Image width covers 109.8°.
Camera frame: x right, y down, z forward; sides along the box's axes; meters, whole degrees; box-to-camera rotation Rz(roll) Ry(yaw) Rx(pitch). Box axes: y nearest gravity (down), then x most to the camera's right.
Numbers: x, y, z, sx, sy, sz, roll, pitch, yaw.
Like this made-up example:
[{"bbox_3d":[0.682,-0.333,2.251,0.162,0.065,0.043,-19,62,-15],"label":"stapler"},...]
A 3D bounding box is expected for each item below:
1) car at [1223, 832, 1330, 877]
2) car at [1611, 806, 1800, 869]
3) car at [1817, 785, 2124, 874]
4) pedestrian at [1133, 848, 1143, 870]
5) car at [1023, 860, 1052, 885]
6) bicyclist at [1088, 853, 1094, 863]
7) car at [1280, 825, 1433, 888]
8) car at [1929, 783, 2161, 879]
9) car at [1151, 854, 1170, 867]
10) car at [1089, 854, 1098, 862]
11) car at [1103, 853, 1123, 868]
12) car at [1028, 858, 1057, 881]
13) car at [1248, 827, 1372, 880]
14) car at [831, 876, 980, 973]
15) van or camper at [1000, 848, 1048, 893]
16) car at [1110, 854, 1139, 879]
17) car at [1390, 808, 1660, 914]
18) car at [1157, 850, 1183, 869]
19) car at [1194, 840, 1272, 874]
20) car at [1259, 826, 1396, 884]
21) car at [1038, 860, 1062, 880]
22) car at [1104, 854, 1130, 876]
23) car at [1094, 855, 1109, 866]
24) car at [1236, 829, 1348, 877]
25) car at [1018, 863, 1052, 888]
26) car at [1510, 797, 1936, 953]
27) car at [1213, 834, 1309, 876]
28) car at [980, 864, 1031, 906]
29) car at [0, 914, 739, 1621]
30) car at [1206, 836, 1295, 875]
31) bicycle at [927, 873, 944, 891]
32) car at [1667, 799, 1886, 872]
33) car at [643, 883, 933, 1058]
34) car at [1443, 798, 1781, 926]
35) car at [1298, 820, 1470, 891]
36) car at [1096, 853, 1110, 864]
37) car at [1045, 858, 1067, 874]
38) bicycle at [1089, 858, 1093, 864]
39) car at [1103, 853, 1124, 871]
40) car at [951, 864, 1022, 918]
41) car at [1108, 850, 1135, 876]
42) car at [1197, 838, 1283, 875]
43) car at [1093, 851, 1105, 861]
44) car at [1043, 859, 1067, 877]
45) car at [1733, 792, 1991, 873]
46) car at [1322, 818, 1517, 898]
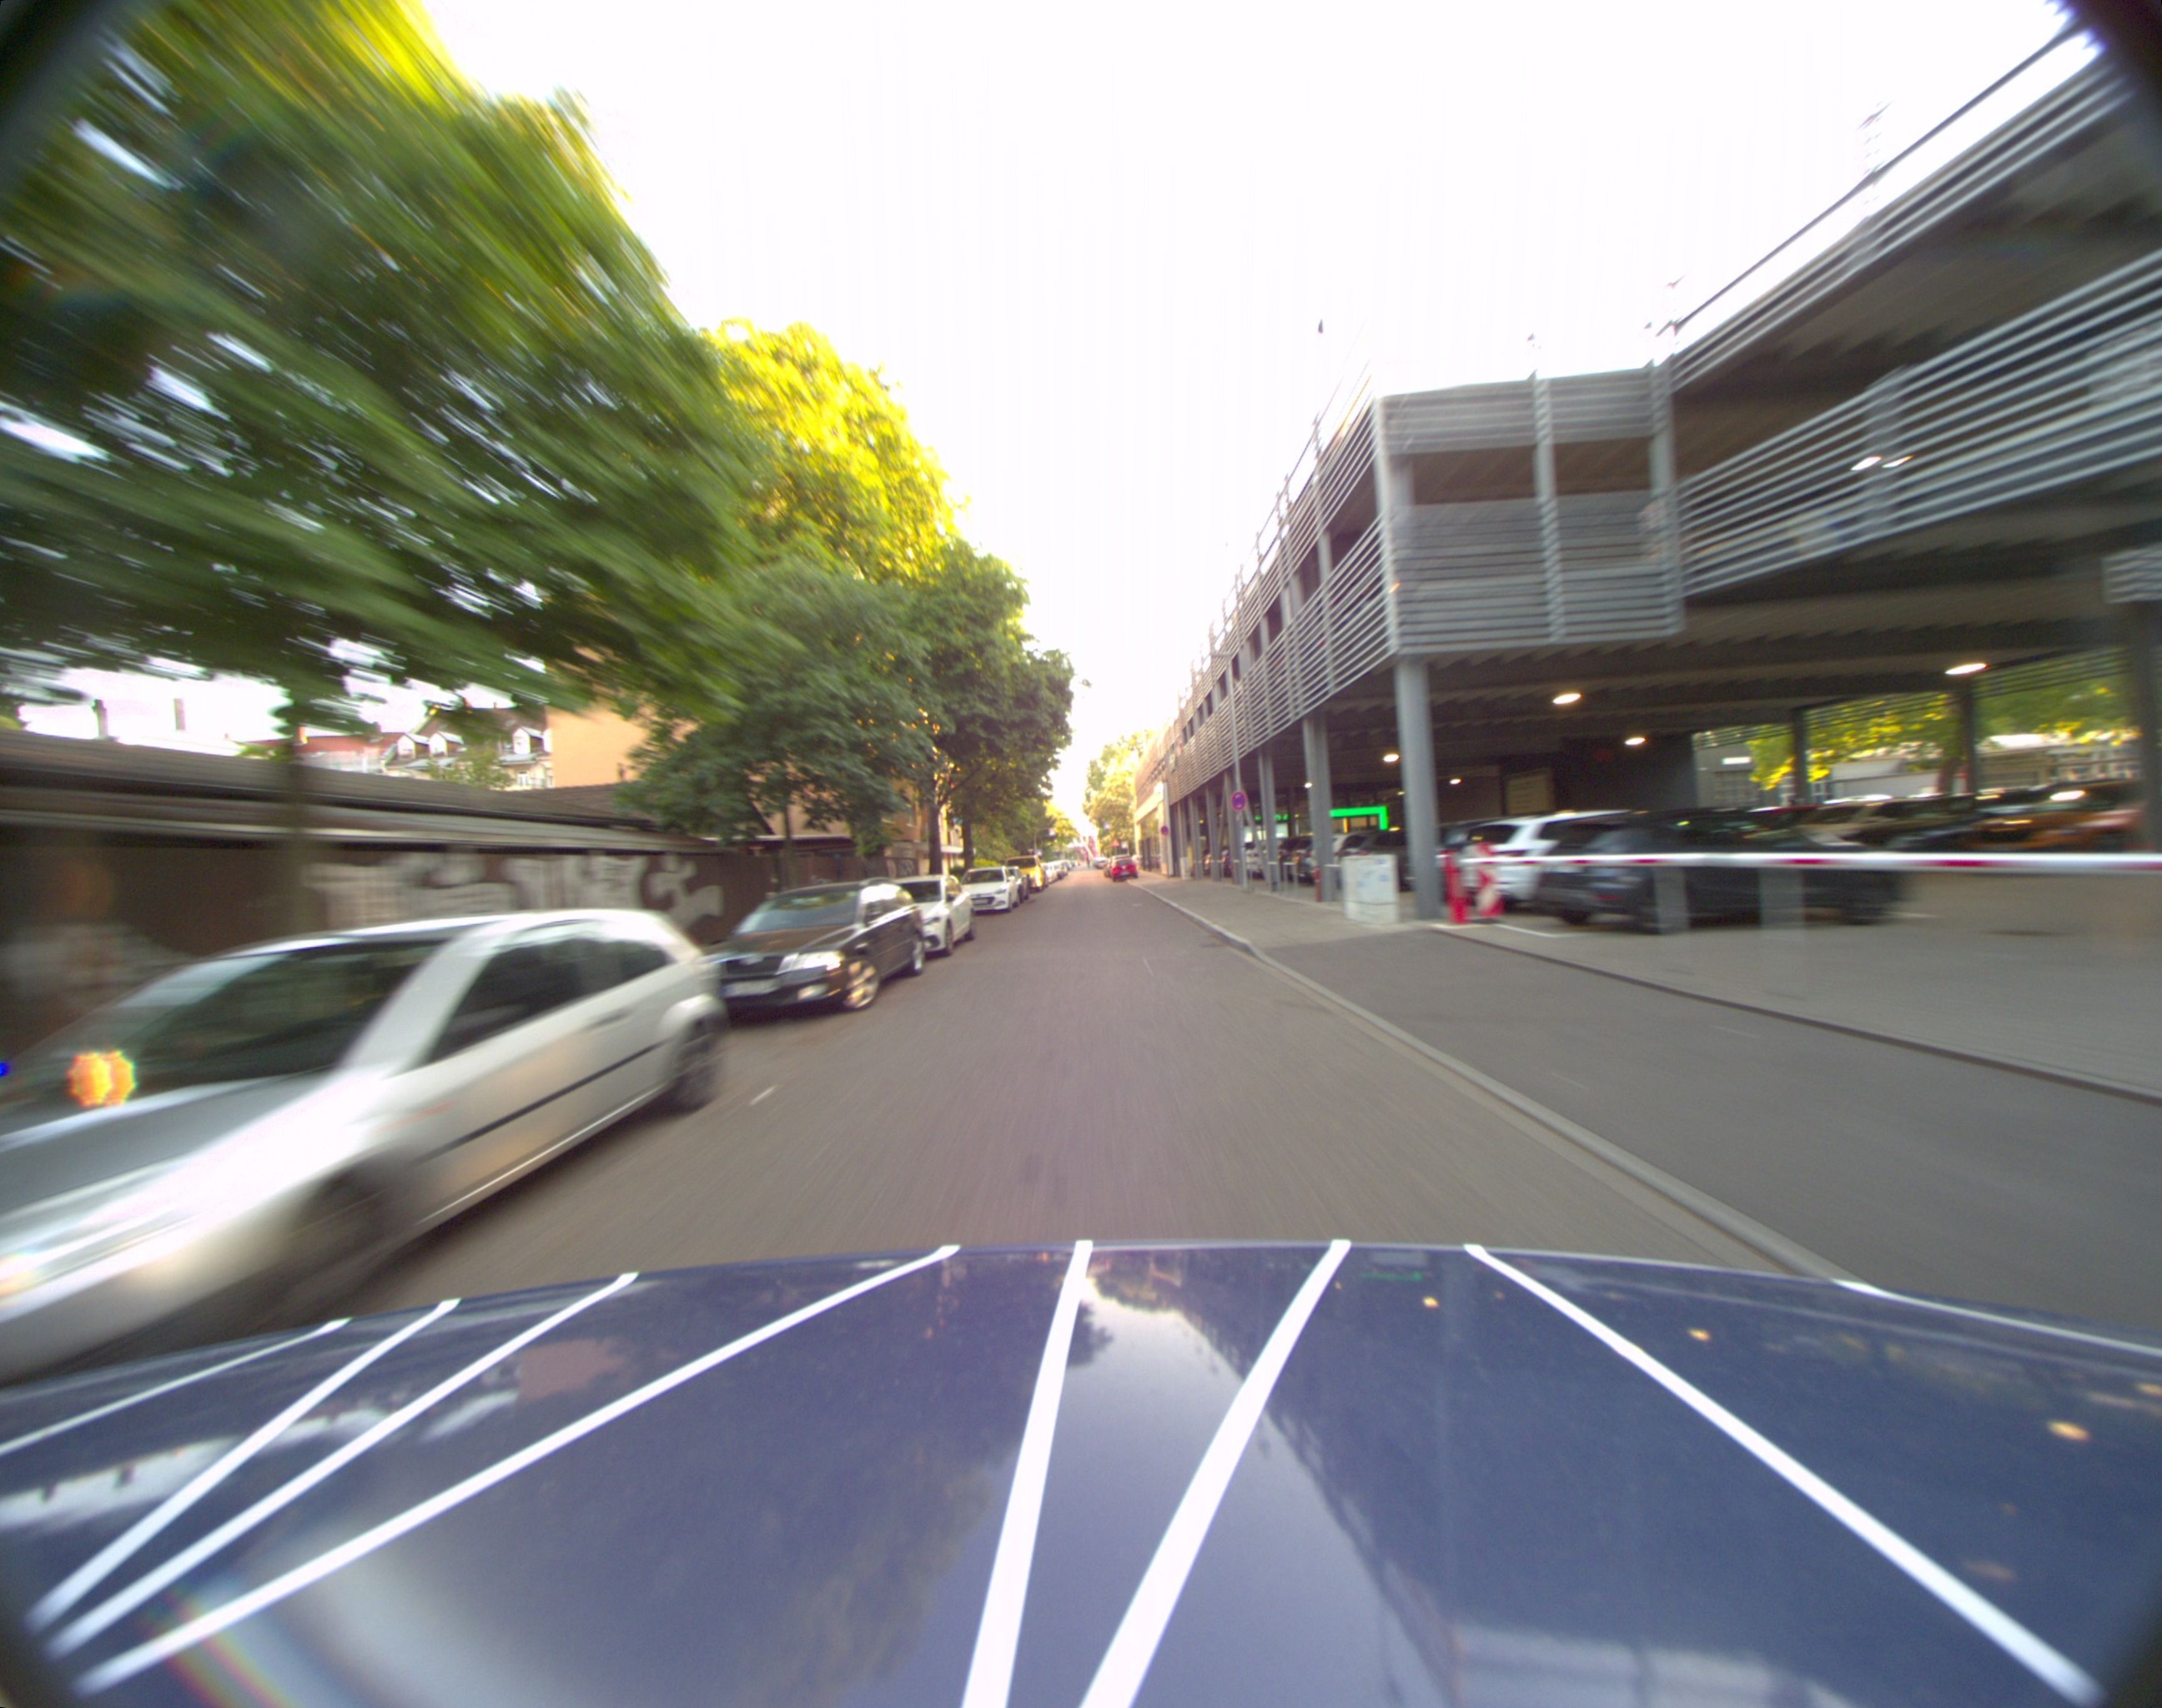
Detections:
[{"bbox_3d":[8.582,0.051,33.642,4.159,1.674,1.860,-4,-1,2],"label":"car"},{"bbox_3d":[18.573,-0.461,22.735,3.996,1.549,1.860,-4,-1,2],"label":"car"},{"bbox_3d":[18.389,-0.462,15.873,4.061,1.486,1.860,-4,-1,2],"label":"car"},{"bbox_3d":[4.878,0.431,64.692,0.722,1.867,0.620,-4,0,2],"label":"pedestrian"},{"bbox_3d":[-2.885,1.223,51.082,1.614,1.501,3.478,-4,0,0],"label":"car"},{"bbox_3d":[1.831,0.752,141.199,0.861,1.797,1.016,-4,0,-1],"label":"bicyclist"},{"bbox_3d":[8.678,0.088,24.185,4.113,1.674,1.860,-4,-1,2],"label":"car"},{"bbox_3d":[18.417,-0.457,13.606,4.240,1.486,1.831,-4,-1,2],"label":"car"},{"bbox_3d":[8.786,0.703,84.022,1.597,1.285,3.451,-4,0,0],"label":"car"},{"bbox_3d":[3.252,0.957,199.851,1.786,1.772,4.012,-9,0,-2],"label":"car"},{"bbox_3d":[3.679,0.726,89.001,1.666,1.505,3.883,-7,-1,-5],"label":"car"},{"bbox_3d":[-2.786,1.124,55.779,1.796,1.553,4.194,-4,0,0],"label":"car"},{"bbox_3d":[8.627,-0.017,28.911,4.093,1.674,1.860,-4,-1,2],"label":"car"},{"bbox_3d":[-3.139,1.209,14.440,1.764,1.433,4.006,-4,-1,1],"label":"car"},{"bbox_3d":[-2.937,0.874,40.349,2.069,2.083,5.091,-4,-1,-1],"label":"van or camper"},{"bbox_3d":[2.875,0.840,50.905,1.702,1.497,3.791,-4,0,0],"label":"car"},{"bbox_3d":[8.507,0.142,14.859,4.097,1.674,1.860,-4,-1,2],"label":"car"},{"bbox_3d":[7.815,0.485,66.933,1.702,1.506,4.192,-4,0,0],"label":"car"},{"bbox_3d":[8.628,0.178,43.420,4.052,1.674,1.860,-4,-1,2],"label":"car"},{"bbox_3d":[8.499,0.043,26.472,4.113,1.674,1.860,-4,-1,2],"label":"car"},{"bbox_3d":[-2.435,1.221,60.753,1.614,1.452,4.054,-4,0,0],"label":"car"},{"bbox_3d":[2.952,0.912,62.614,1.942,1.587,4.206,-4,-1,2],"label":"car"},{"bbox_3d":[3.166,1.065,117.191,1.786,1.442,3.884,-9,0,-2],"label":"car"},{"bbox_3d":[8.606,-0.020,31.281,4.035,1.674,1.860,-4,-1,2],"label":"car"},{"bbox_3d":[-2.747,1.280,46.013,1.610,1.373,4.001,-4,-1,2],"label":"car"},{"bbox_3d":[8.139,0.223,9.916,3.997,1.577,1.859,-4,2,-1],"label":"car"},{"bbox_3d":[8.482,0.066,36.053,4.045,1.674,1.860,-4,-1,2],"label":"car"},{"bbox_3d":[-2.909,1.174,30.003,1.567,1.441,3.454,-4,-1,0],"label":"car"},{"bbox_3d":[-3.457,1.182,3.643,1.764,1.433,3.874,-4,-1,1],"label":"car"},{"bbox_3d":[8.561,0.105,38.692,4.045,1.674,1.860,-4,-1,2],"label":"car"},{"bbox_3d":[-8.212,1.575,42.897,0.524,0.916,1.835,-4,-1,0],"label":"bicycle"},{"bbox_3d":[18.539,-0.455,20.419,4.045,1.587,1.860,-4,-1,2],"label":"car"},{"bbox_3d":[-3.219,1.190,9.422,1.764,1.446,4.393,-4,-1,1],"label":"car"},{"bbox_3d":[8.451,0.141,12.401,4.089,1.674,1.860,-4,-1,2],"label":"car"},{"bbox_3d":[8.578,0.063,21.804,4.113,1.674,1.860,-4,-1,2],"label":"car"},{"bbox_3d":[3.514,0.750,121.862,1.786,1.568,3.884,-9,0,-2],"label":"car"},{"bbox_3d":[-2.361,1.112,71.845,1.814,1.408,3.896,-4,0,1],"label":"car"},{"bbox_3d":[1.851,1.237,141.185,0.761,1.090,1.864,-2,0,-2],"label":"bicycle"},{"bbox_3d":[3.089,0.749,72.691,1.666,1.488,3.885,-9,0,1],"label":"car"},{"bbox_3d":[-2.994,1.141,24.892,1.726,1.510,4.026,-4,-1,0],"label":"car"},{"bbox_3d":[3.005,0.663,56.516,1.702,1.745,4.403,-4,0,0],"label":"car"},{"bbox_3d":[8.532,0.143,40.915,4.176,1.674,1.860,-4,-1,2],"label":"car"},{"bbox_3d":[3.838,0.407,163.670,1.964,1.825,3.884,-9,0,-2],"label":"car"},{"bbox_3d":[-2.241,1.212,66.157,1.814,1.408,4.626,-4,0,0],"label":"car"},{"bbox_3d":[18.413,-0.473,18.082,4.077,1.569,1.860,-4,-1,2],"label":"car"},{"bbox_3d":[8.539,0.111,19.447,4.074,1.674,1.860,-4,-1,2],"label":"car"}]
